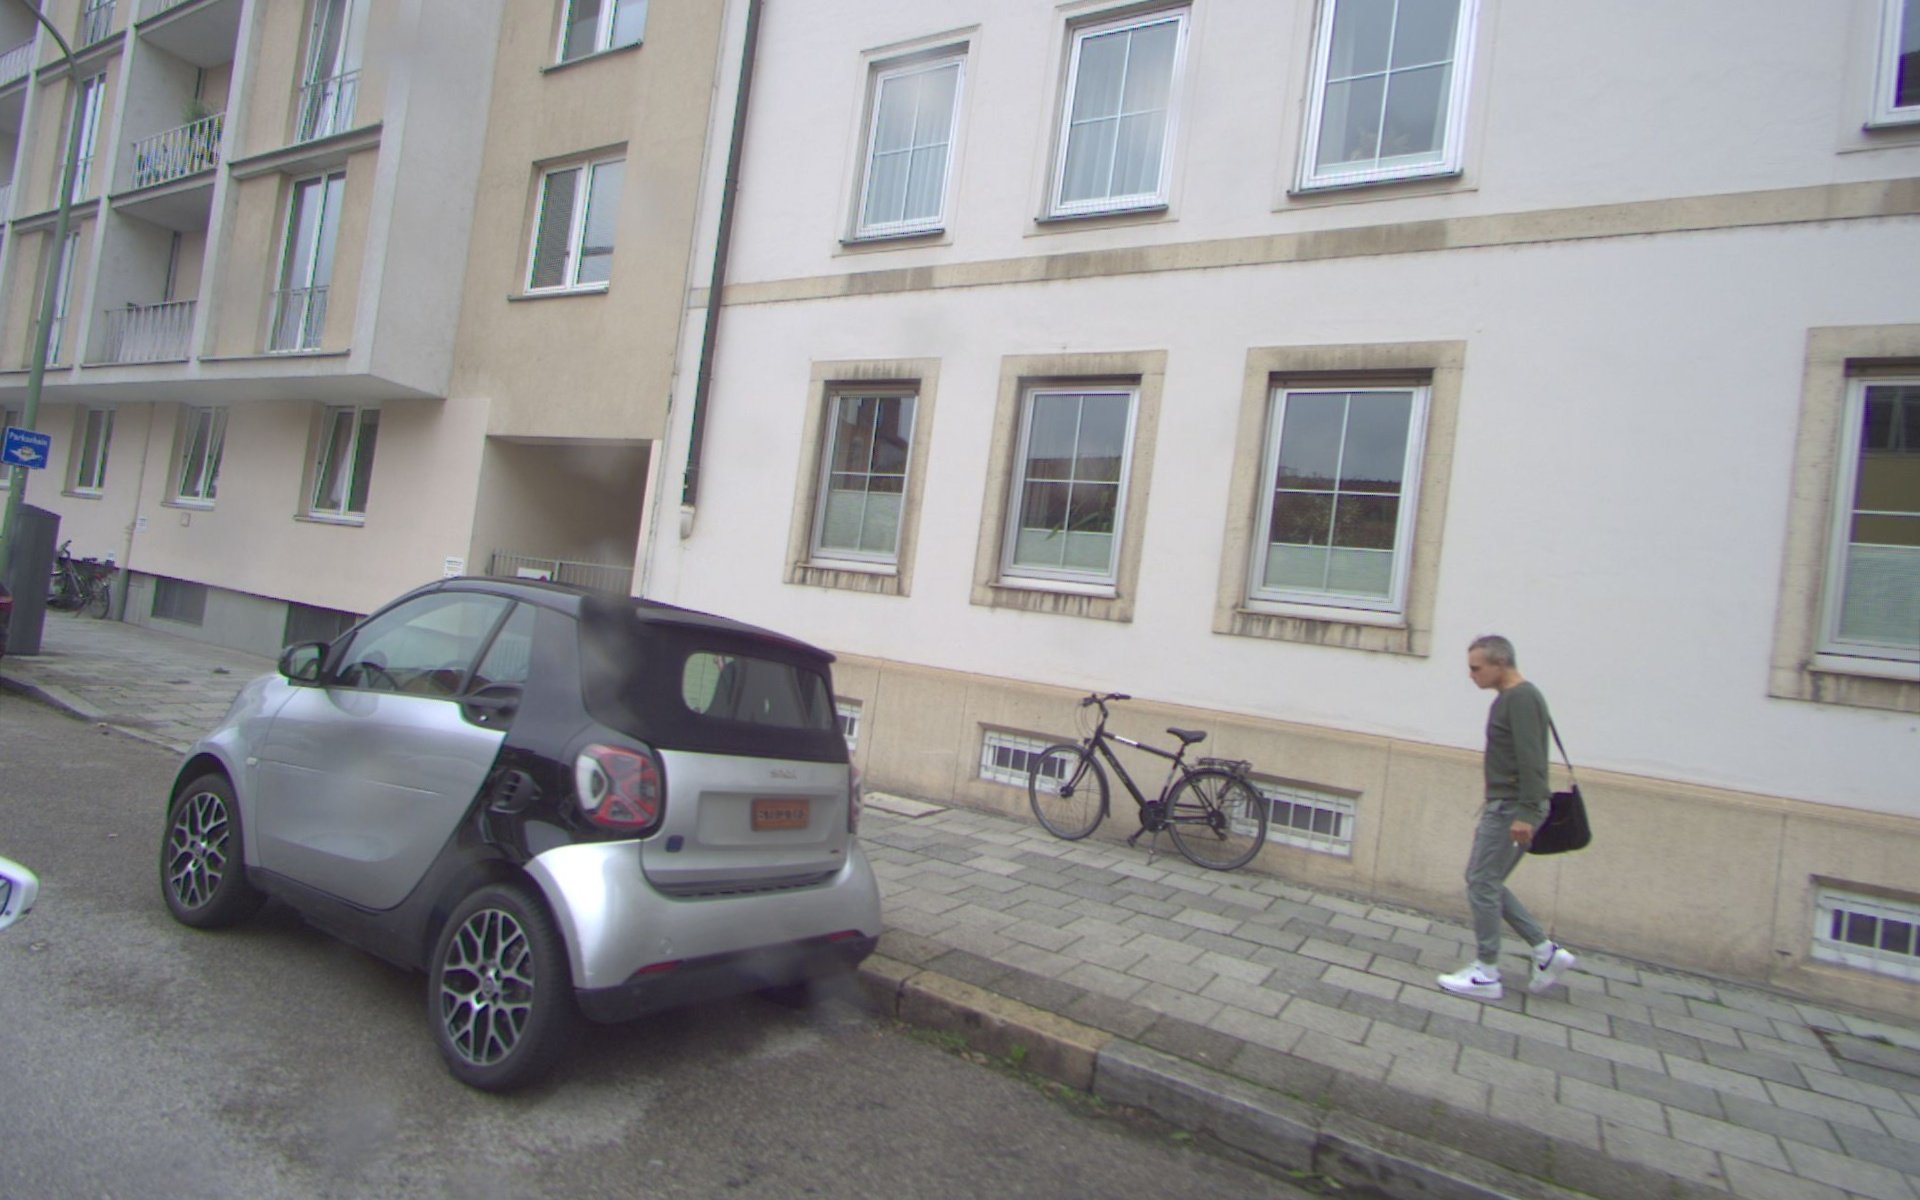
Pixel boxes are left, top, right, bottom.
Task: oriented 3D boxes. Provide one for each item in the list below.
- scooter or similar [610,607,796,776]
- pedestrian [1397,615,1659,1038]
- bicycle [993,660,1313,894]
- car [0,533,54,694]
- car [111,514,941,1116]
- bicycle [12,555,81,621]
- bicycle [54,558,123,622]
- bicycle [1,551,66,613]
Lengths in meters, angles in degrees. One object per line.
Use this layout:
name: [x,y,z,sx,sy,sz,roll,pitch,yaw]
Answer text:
scooter or similar: [-2.387,0.831,9.343,1.560,1.374,0.441,5,-3,19]
pedestrian: [2.763,1.015,4.935,0.890,1.786,0.723,6,1,31]
bicycle: [1.312,1.166,7.128,2.068,1.234,0.530,6,2,32]
car: [-10.922,-0.215,9.568,4.868,1.401,1.753,6,-6,29]
car: [-1.802,0.643,4.201,2.833,1.510,1.656,6,-5,31]
bicycle: [-15.019,-0.203,16.535,1.369,0.915,0.379,6,-2,32]
bicycle: [-14.486,-0.177,16.721,1.369,0.915,0.379,6,-2,32]
bicycle: [-16.072,-0.319,17.452,1.369,0.915,0.379,6,-2,32]
